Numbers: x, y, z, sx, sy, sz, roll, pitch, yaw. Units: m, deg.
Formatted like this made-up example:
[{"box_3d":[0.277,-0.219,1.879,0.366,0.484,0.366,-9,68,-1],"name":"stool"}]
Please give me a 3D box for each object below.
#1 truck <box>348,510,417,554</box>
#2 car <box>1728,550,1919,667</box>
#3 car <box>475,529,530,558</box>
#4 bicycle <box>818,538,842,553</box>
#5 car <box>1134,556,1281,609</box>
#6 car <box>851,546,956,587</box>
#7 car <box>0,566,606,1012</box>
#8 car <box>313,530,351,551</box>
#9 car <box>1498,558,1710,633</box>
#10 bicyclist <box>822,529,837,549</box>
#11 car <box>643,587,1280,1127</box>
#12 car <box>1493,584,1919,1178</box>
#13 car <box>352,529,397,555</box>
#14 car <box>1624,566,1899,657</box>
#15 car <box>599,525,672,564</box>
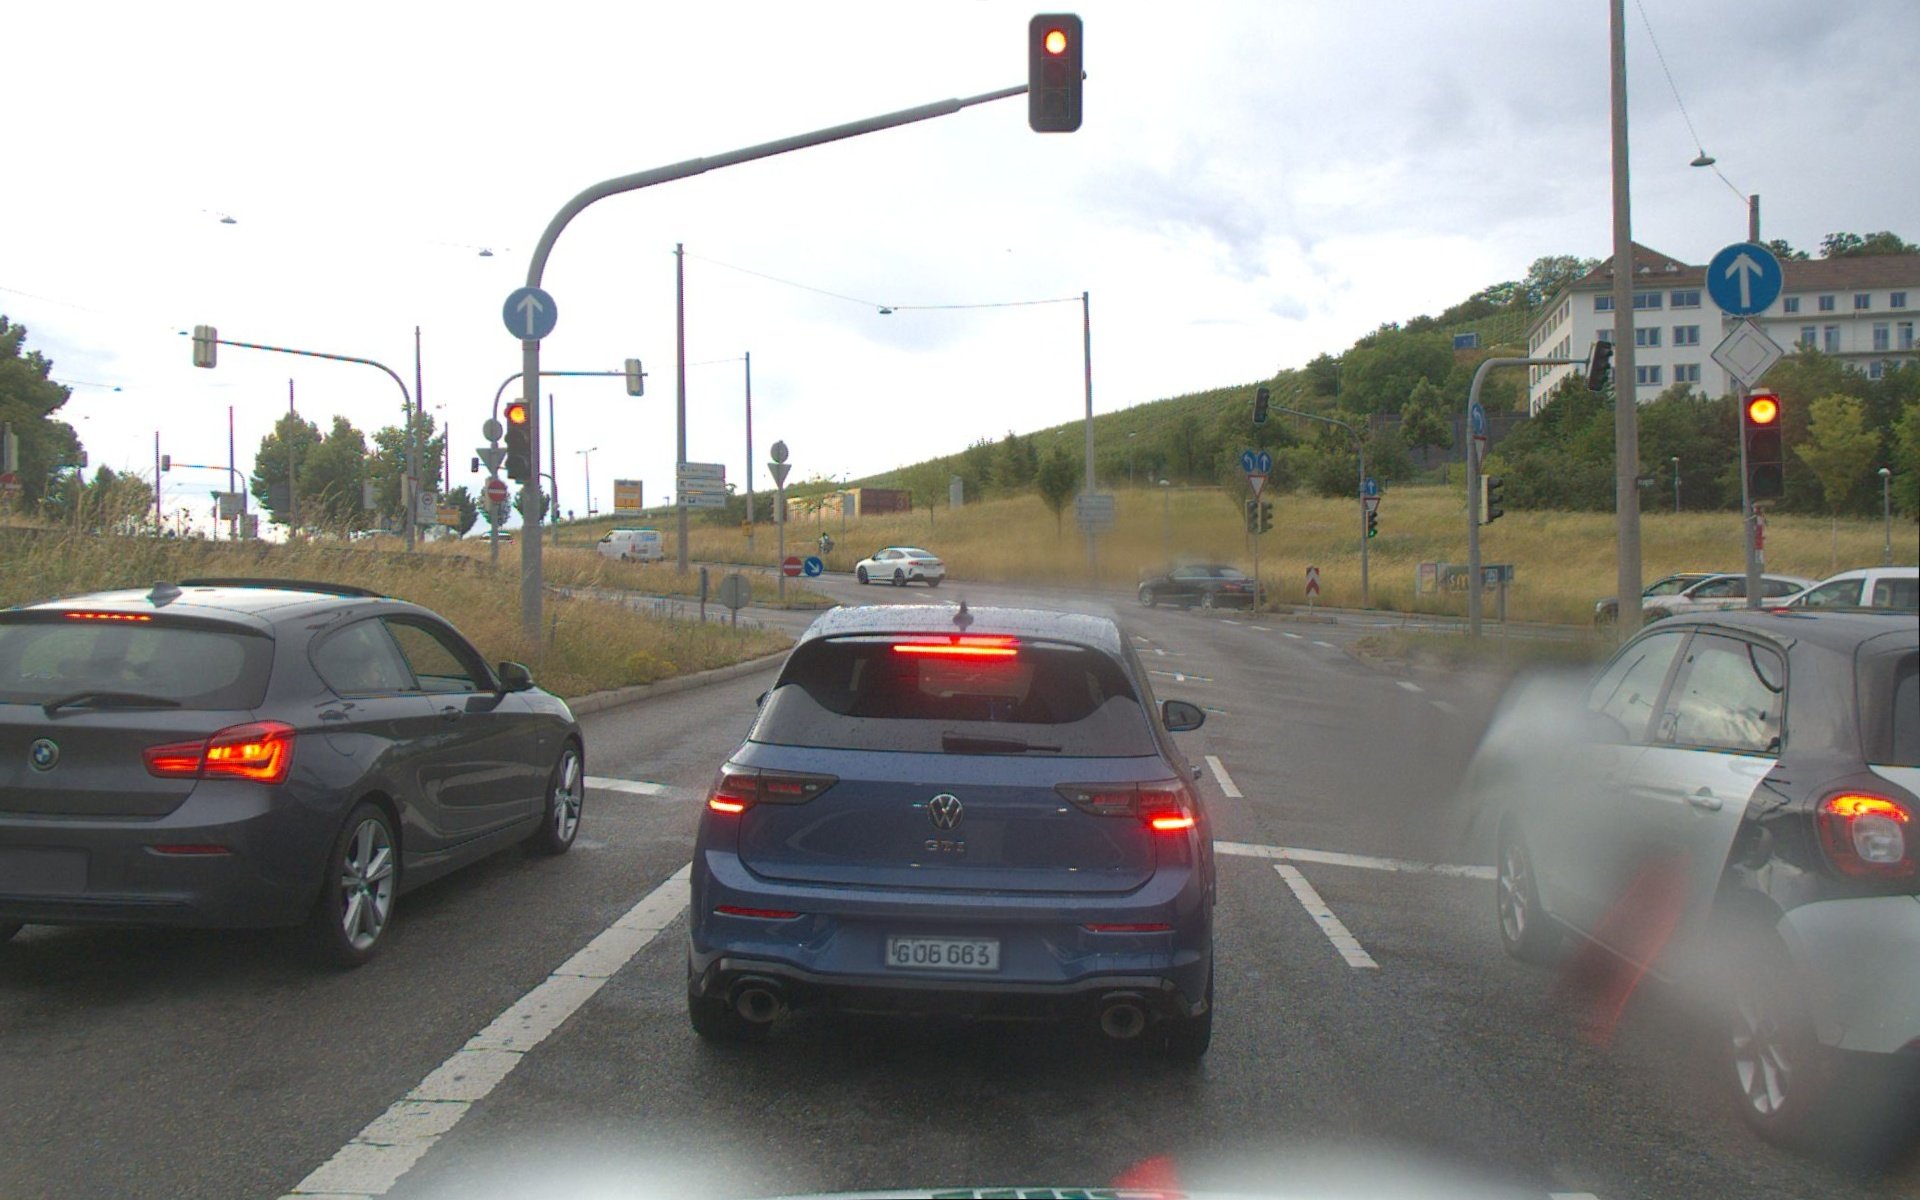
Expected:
[{"box_3d":[-44.903,-5.325,128.604,3.233,3.128,6.096,4,0,-37],"name":"truck"},{"box_3d":[15.616,0.158,27.759,1.806,1.882,4.625,2,-1,-42],"name":"car"},{"box_3d":[-29.328,-3.604,105.891,1.977,1.688,4.487,1,-1,-36],"name":"car"},{"box_3d":[-7.352,-3.109,93.539,0.514,0.788,1.600,3,1,-37],"name":"bicycle"},{"box_3d":[7.570,-0.516,51.034,1.977,1.503,4.446,1,-1,-36],"name":"car"},{"box_3d":[-2.252,-1.282,64.848,1.979,1.503,4.362,1,-1,-37],"name":"car"},{"box_3d":[-2.989,0.653,7.637,1.667,1.485,4.115,0,-1,2],"name":"car"},{"box_3d":[-54.783,-5.207,144.269,1.977,1.688,4.488,2,1,-36],"name":"car"},{"box_3d":[15.272,-0.089,39.427,1.979,1.665,4.362,1,-1,-37],"name":"car"},{"box_3d":[-7.393,-3.453,93.641,0.519,1.065,0.573,4,0,-38],"name":"bicyclist"},{"box_3d":[0.096,0.707,6.592,1.787,1.486,3.810,1,1,3],"name":"car"},{"box_3d":[3.211,0.754,5.962,1.623,1.529,3.452,1,-1,3],"name":"car"},{"box_3d":[-42.098,-4.178,118.884,1.978,1.688,4.298,1,-1,-36],"name":"car"},{"box_3d":[15.598,0.227,32.357,1.983,1.649,4.456,2,-1,-42],"name":"car"},{"box_3d":[-17.005,-2.873,86.537,2.111,1.826,4.684,1,-1,-34],"name":"car"}]
